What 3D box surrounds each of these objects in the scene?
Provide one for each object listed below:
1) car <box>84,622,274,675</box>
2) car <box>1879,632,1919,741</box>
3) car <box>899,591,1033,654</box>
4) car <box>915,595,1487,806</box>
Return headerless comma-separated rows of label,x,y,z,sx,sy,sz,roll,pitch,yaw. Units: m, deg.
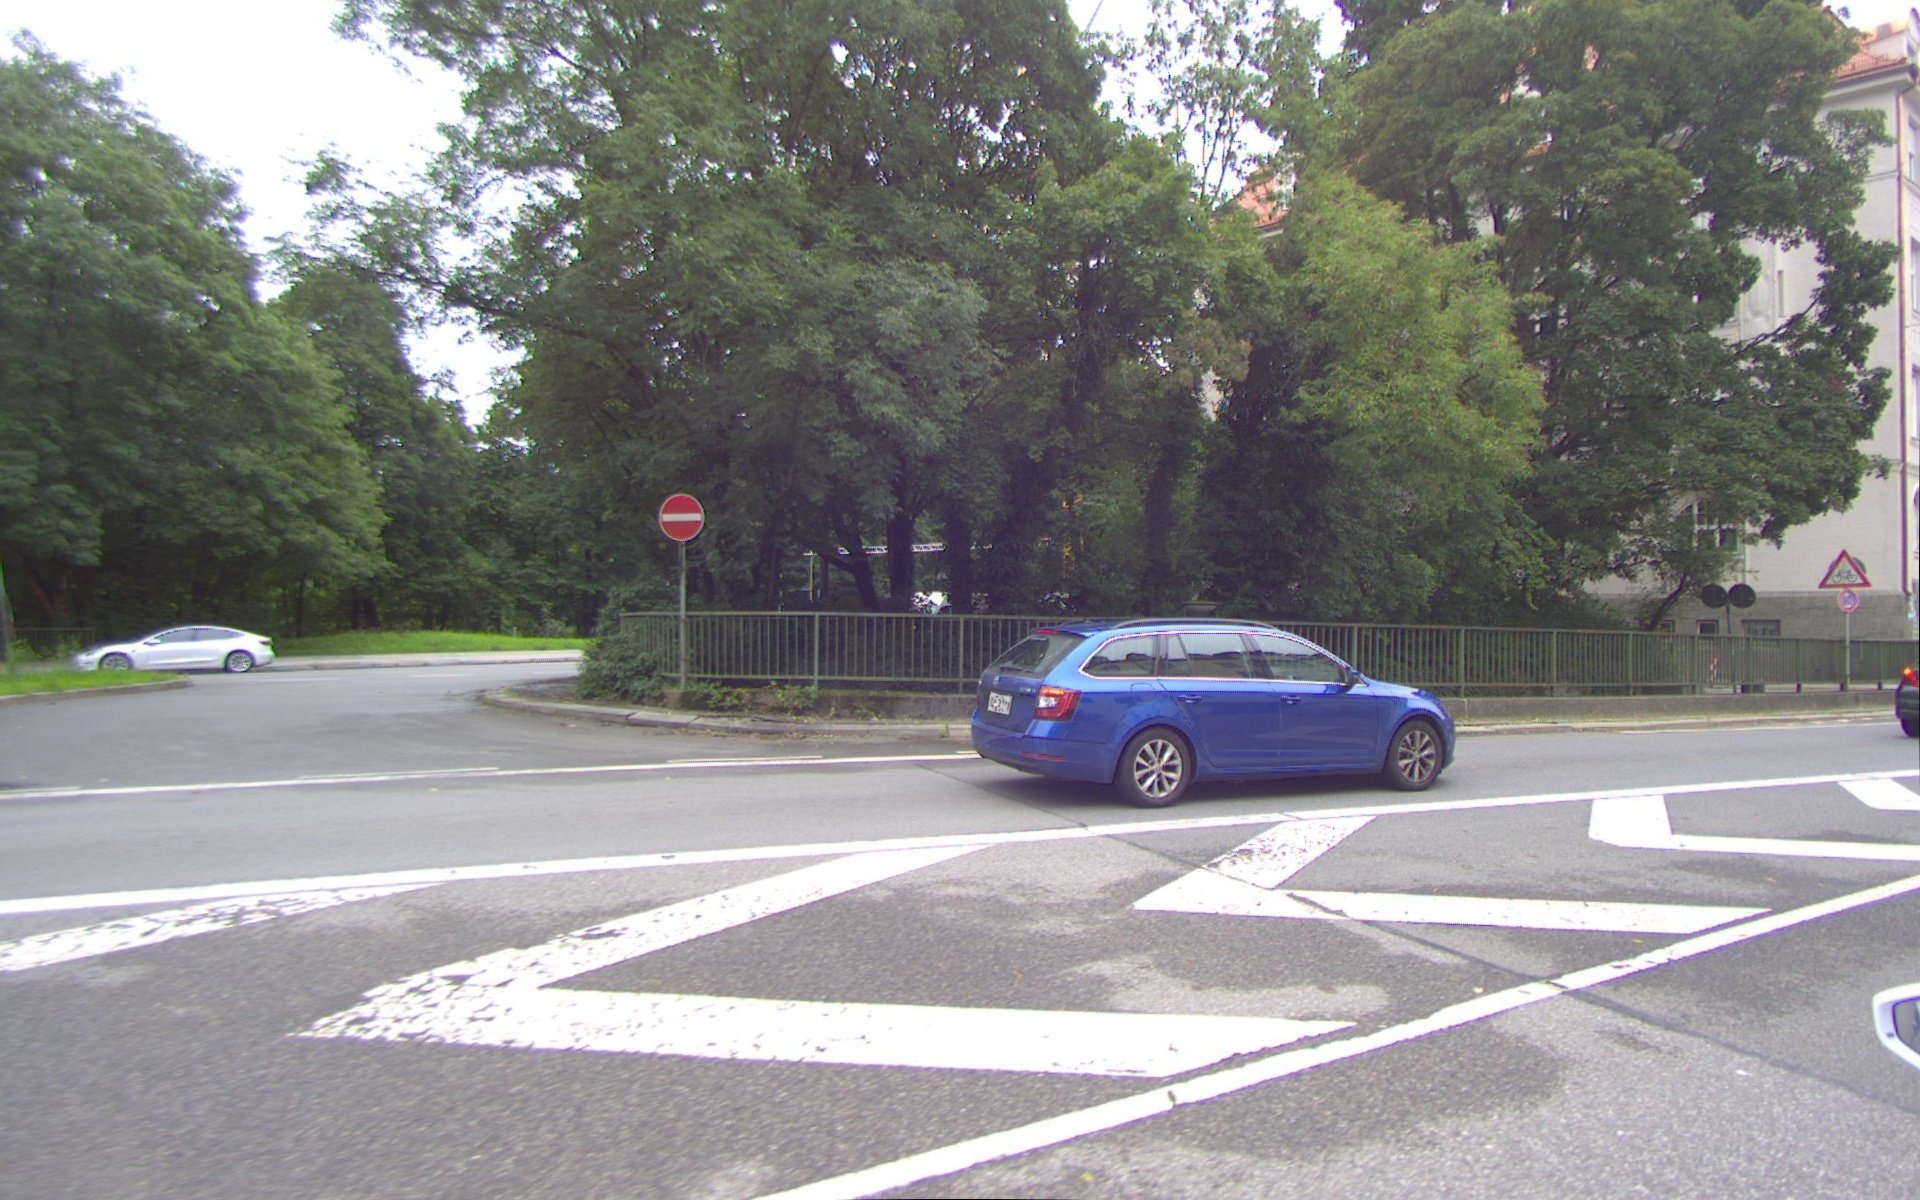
car,-23.358,1.419,30.144,4.391,1.465,1.976,1,-3,-42
car,15.106,1.192,14.163,4.018,1.480,1.754,1,-2,-25
car,0.288,0.911,39.376,5.090,2.300,2.280,1,-2,-42
car,2.122,0.755,8.870,4.666,1.473,1.983,1,-2,-23
